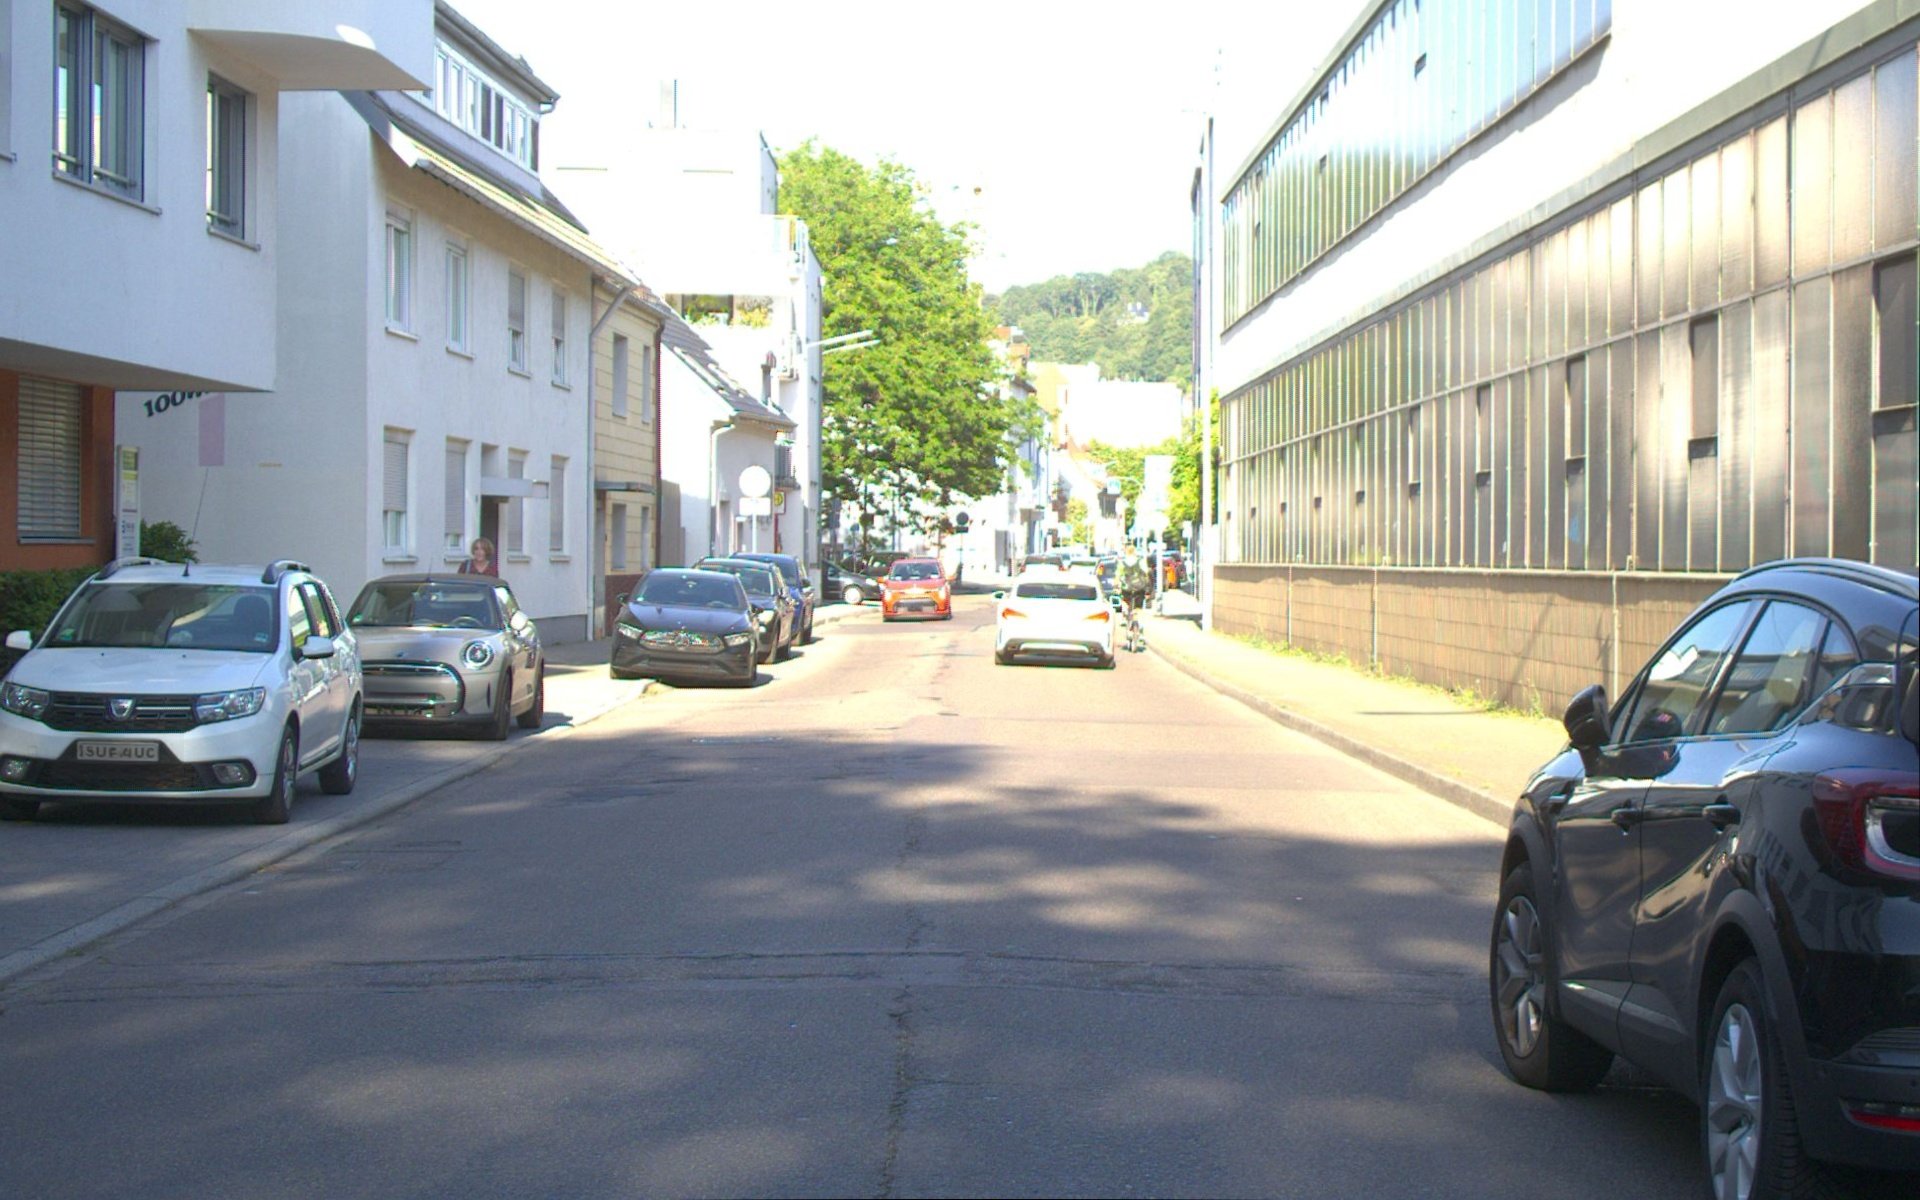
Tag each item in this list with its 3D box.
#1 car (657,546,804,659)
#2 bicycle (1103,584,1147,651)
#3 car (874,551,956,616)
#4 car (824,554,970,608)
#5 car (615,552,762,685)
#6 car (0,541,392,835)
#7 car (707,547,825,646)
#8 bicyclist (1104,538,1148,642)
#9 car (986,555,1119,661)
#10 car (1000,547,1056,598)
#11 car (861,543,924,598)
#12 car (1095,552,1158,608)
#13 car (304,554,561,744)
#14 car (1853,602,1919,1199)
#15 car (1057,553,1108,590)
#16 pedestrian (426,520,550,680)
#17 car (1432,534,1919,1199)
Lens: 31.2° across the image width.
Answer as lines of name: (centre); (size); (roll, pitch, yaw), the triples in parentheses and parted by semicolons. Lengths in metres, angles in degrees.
car: (-3.596, 0.005, 54.519); (1.858, 1.581, 4.336); (3, 1, 1)
bicycle: (2.880, 0.301, 60.146); (0.698, 1.126, 2.402); (2, 0, 2)
car: (-1.061, -0.399, 82.894); (1.842, 1.486, 4.144); (2, 0, 0)
car: (-1.892, -0.562, 104.222); (4.132, 1.486, 1.847); (2, 0, 8)
car: (-3.432, 0.212, 44.104); (1.684, 1.530, 4.335); (3, 0, -3)
car: (-4.843, 0.477, 21.730); (1.857, 1.581, 4.622); (3, 0, -3)
car: (-3.535, -0.089, 63.129); (1.809, 1.581, 4.193); (3, 2, 1)
bicyclist: (2.889, -0.176, 60.010); (0.698, 1.784, 1.040); (2, 0, 2)
car: (1.359, 0.102, 52.050); (1.842, 1.486, 4.144); (2, 0, 0)
car: (2.497, -1.034, 127.312); (1.853, 1.785, 4.608); (2, 1, -1)
car: (-2.297, -1.016, 117.746); (1.853, 1.785, 4.607); (2, 1, 2)
car: (4.857, -0.590, 100.721); (1.629, 1.581, 4.069); (-1, 0, 1)
car: (-4.698, 0.408, 31.082); (1.667, 1.530, 3.857); (3, 0, 0)
car: (2.482, 0.799, 3.839); (1.750, 1.486, 4.621); (3, 0, 0)
car: (5.292, -1.226, 148.118); (1.842, 1.486, 4.143); (2, 0, 6)
pedestrian: (-5.590, 0.000, 40.741); (0.862, 1.812, 1.130); (5, 1, 24)
car: (2.535, 0.693, 8.984); (1.807, 1.581, 4.405); (3, 0, -2)
